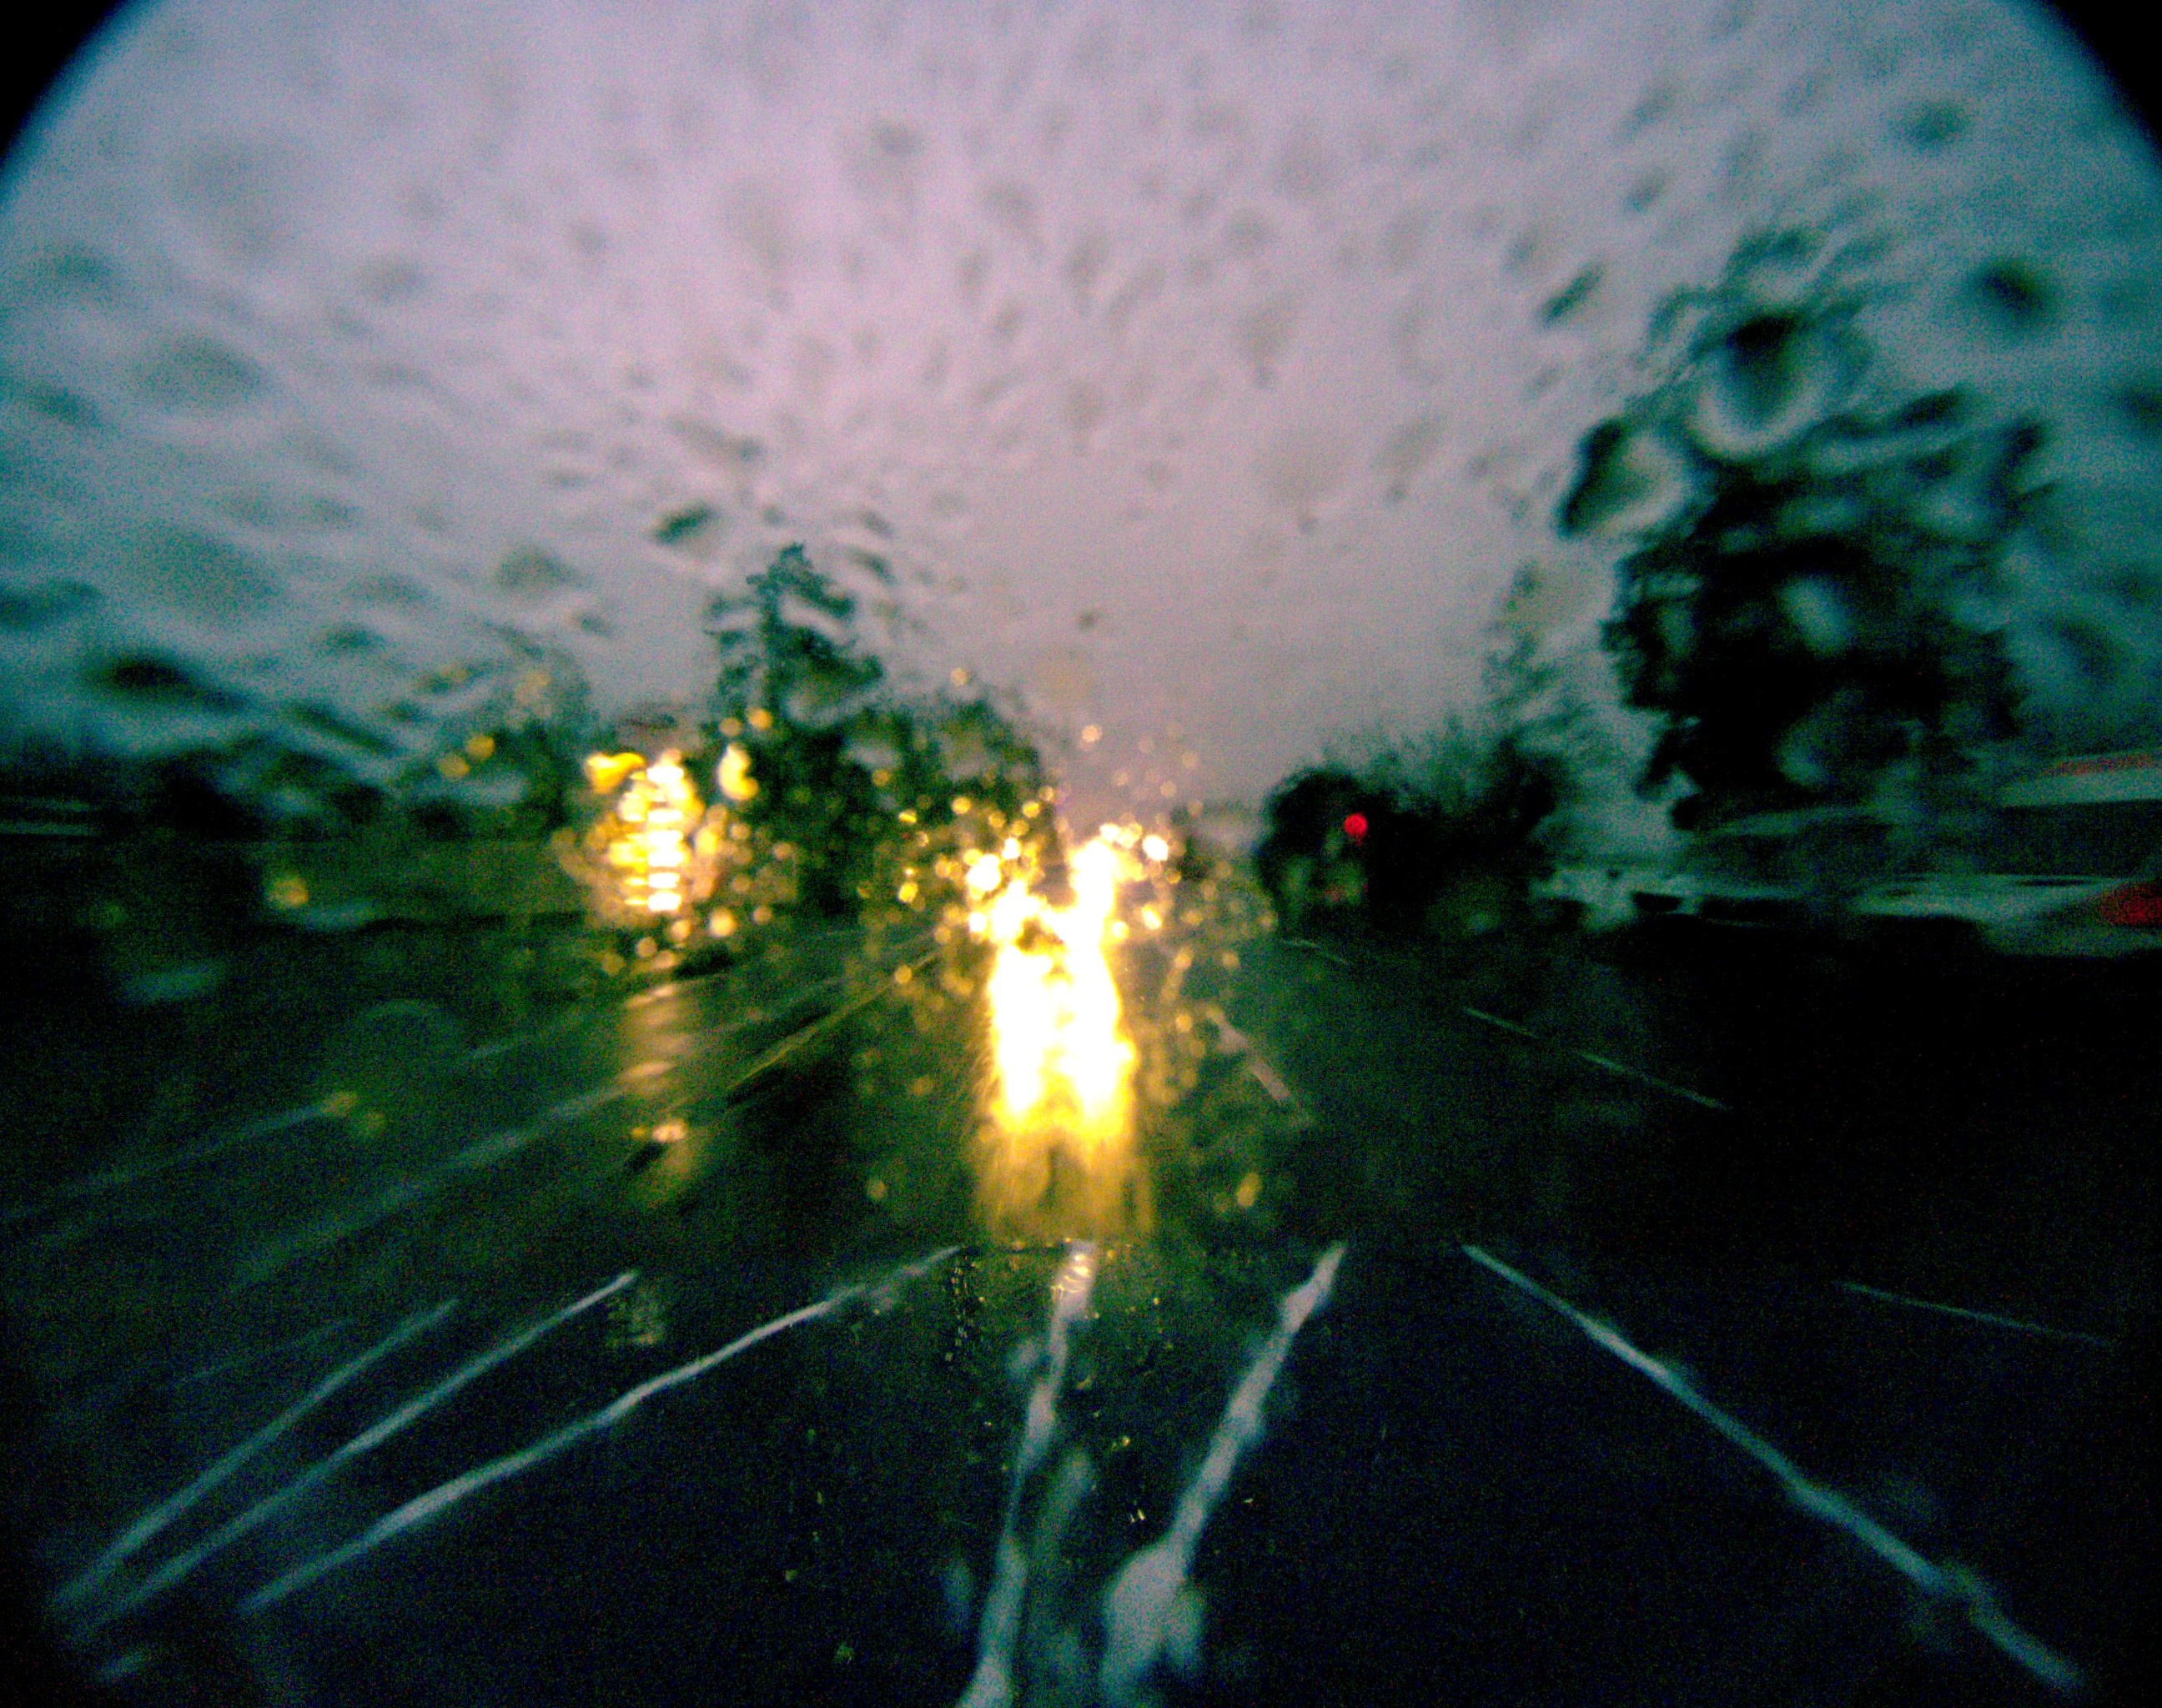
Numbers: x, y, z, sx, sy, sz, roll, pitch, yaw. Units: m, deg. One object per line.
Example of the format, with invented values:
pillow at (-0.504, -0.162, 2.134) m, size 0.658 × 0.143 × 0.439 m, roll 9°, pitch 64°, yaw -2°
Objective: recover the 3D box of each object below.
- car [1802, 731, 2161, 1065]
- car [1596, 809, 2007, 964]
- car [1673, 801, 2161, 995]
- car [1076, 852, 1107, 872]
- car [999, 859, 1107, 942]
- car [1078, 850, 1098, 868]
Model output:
car at (10.831, 0.378, 7.057) m, size 6.172 × 2.617 × 2.176 m, roll 1°, pitch 0°, yaw 0°
car at (12.017, 0.522, 12.937) m, size 5.116 × 2.376 × 2.080 m, roll 1°, pitch 0°, yaw -2°
car at (10.930, 0.534, 10.030) m, size 4.678 × 2.259 × 1.987 m, roll 1°, pitch 0°, yaw -1°
car at (0.751, 0.601, 58.938) m, size 2.016 × 1.484 × 3.998 m, roll -1°, pitch 0°, yaw -4°
car at (-0.684, 0.897, 16.463) m, size 2.016 × 1.484 × 3.998 m, roll -2°, pitch 0°, yaw -4°
car at (0.754, 0.508, 76.516) m, size 1.933 × 1.701 × 4.000 m, roll -1°, pitch 0°, yaw 1°
